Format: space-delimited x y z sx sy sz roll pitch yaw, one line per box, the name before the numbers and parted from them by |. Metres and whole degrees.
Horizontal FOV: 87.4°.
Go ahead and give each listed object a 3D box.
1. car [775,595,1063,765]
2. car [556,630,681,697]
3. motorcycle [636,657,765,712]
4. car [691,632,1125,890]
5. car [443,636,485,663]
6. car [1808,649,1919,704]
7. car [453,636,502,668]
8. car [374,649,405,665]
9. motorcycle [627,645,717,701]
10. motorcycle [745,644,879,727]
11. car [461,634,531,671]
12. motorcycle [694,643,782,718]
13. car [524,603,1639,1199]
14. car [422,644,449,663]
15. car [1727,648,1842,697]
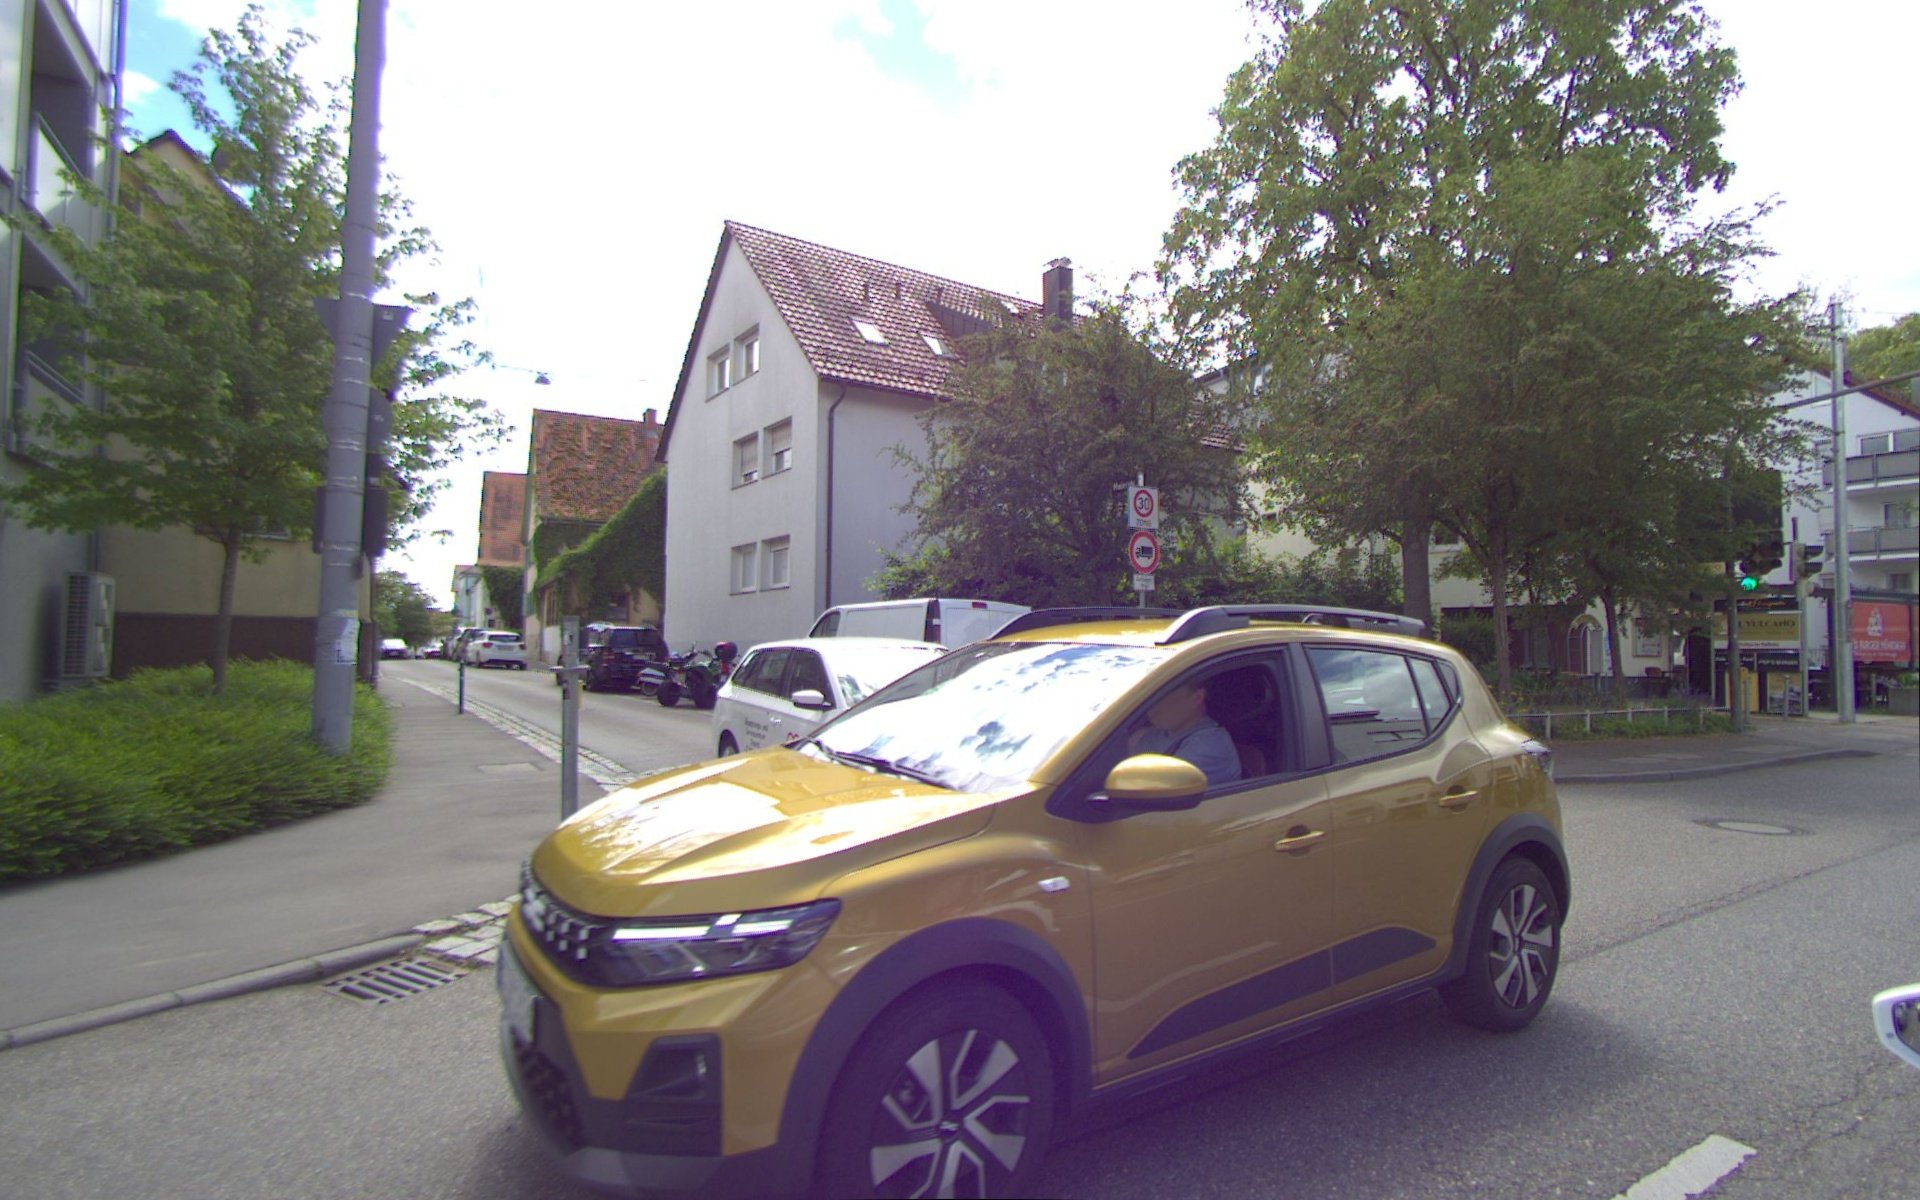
car | -0.778 1.050 14.592 2.074 2.035 4.592 2 -2 -34
car | -8.954 1.587 26.133 2.018 1.596 4.119 2 -2 -35
motorcycle | -5.342 1.714 20.782 2.324 1.018 1.189 3 -3 -45
car | -0.712 1.039 8.316 1.802 1.533 4.189 0 -2 -32
car | -26.645 2.645 53.933 1.814 1.387 4.128 1 -2 -29
car | 26.322 2.128 28.072 1.787 1.444 3.668 2 -2 -35
car | -22.364 2.362 46.467 1.814 1.387 4.128 1 -2 -29
car | -42.103 4.177 74.079 1.872 1.079 4.125 2 -2 -31
motorcycle | -6.620 1.664 23.134 1.938 1.239 0.466 1 -2 -24
motorcycle | -2.540 1.448 17.329 2.110 1.350 0.838 2 -3 -30
car | -18.347 2.035 39.636 1.818 1.387 4.119 2 -2 -35
motorcycle | -4.238 1.514 19.273 0.675 1.353 1.596 -1 -2 35
car | 0.655 0.843 3.737 3.958 1.558 1.718 1 -2 -33
car | -41.322 4.170 79.093 1.814 1.387 4.128 1 -2 -29
car | 26.266 2.299 32.109 1.534 1.489 2.851 0 -3 7
